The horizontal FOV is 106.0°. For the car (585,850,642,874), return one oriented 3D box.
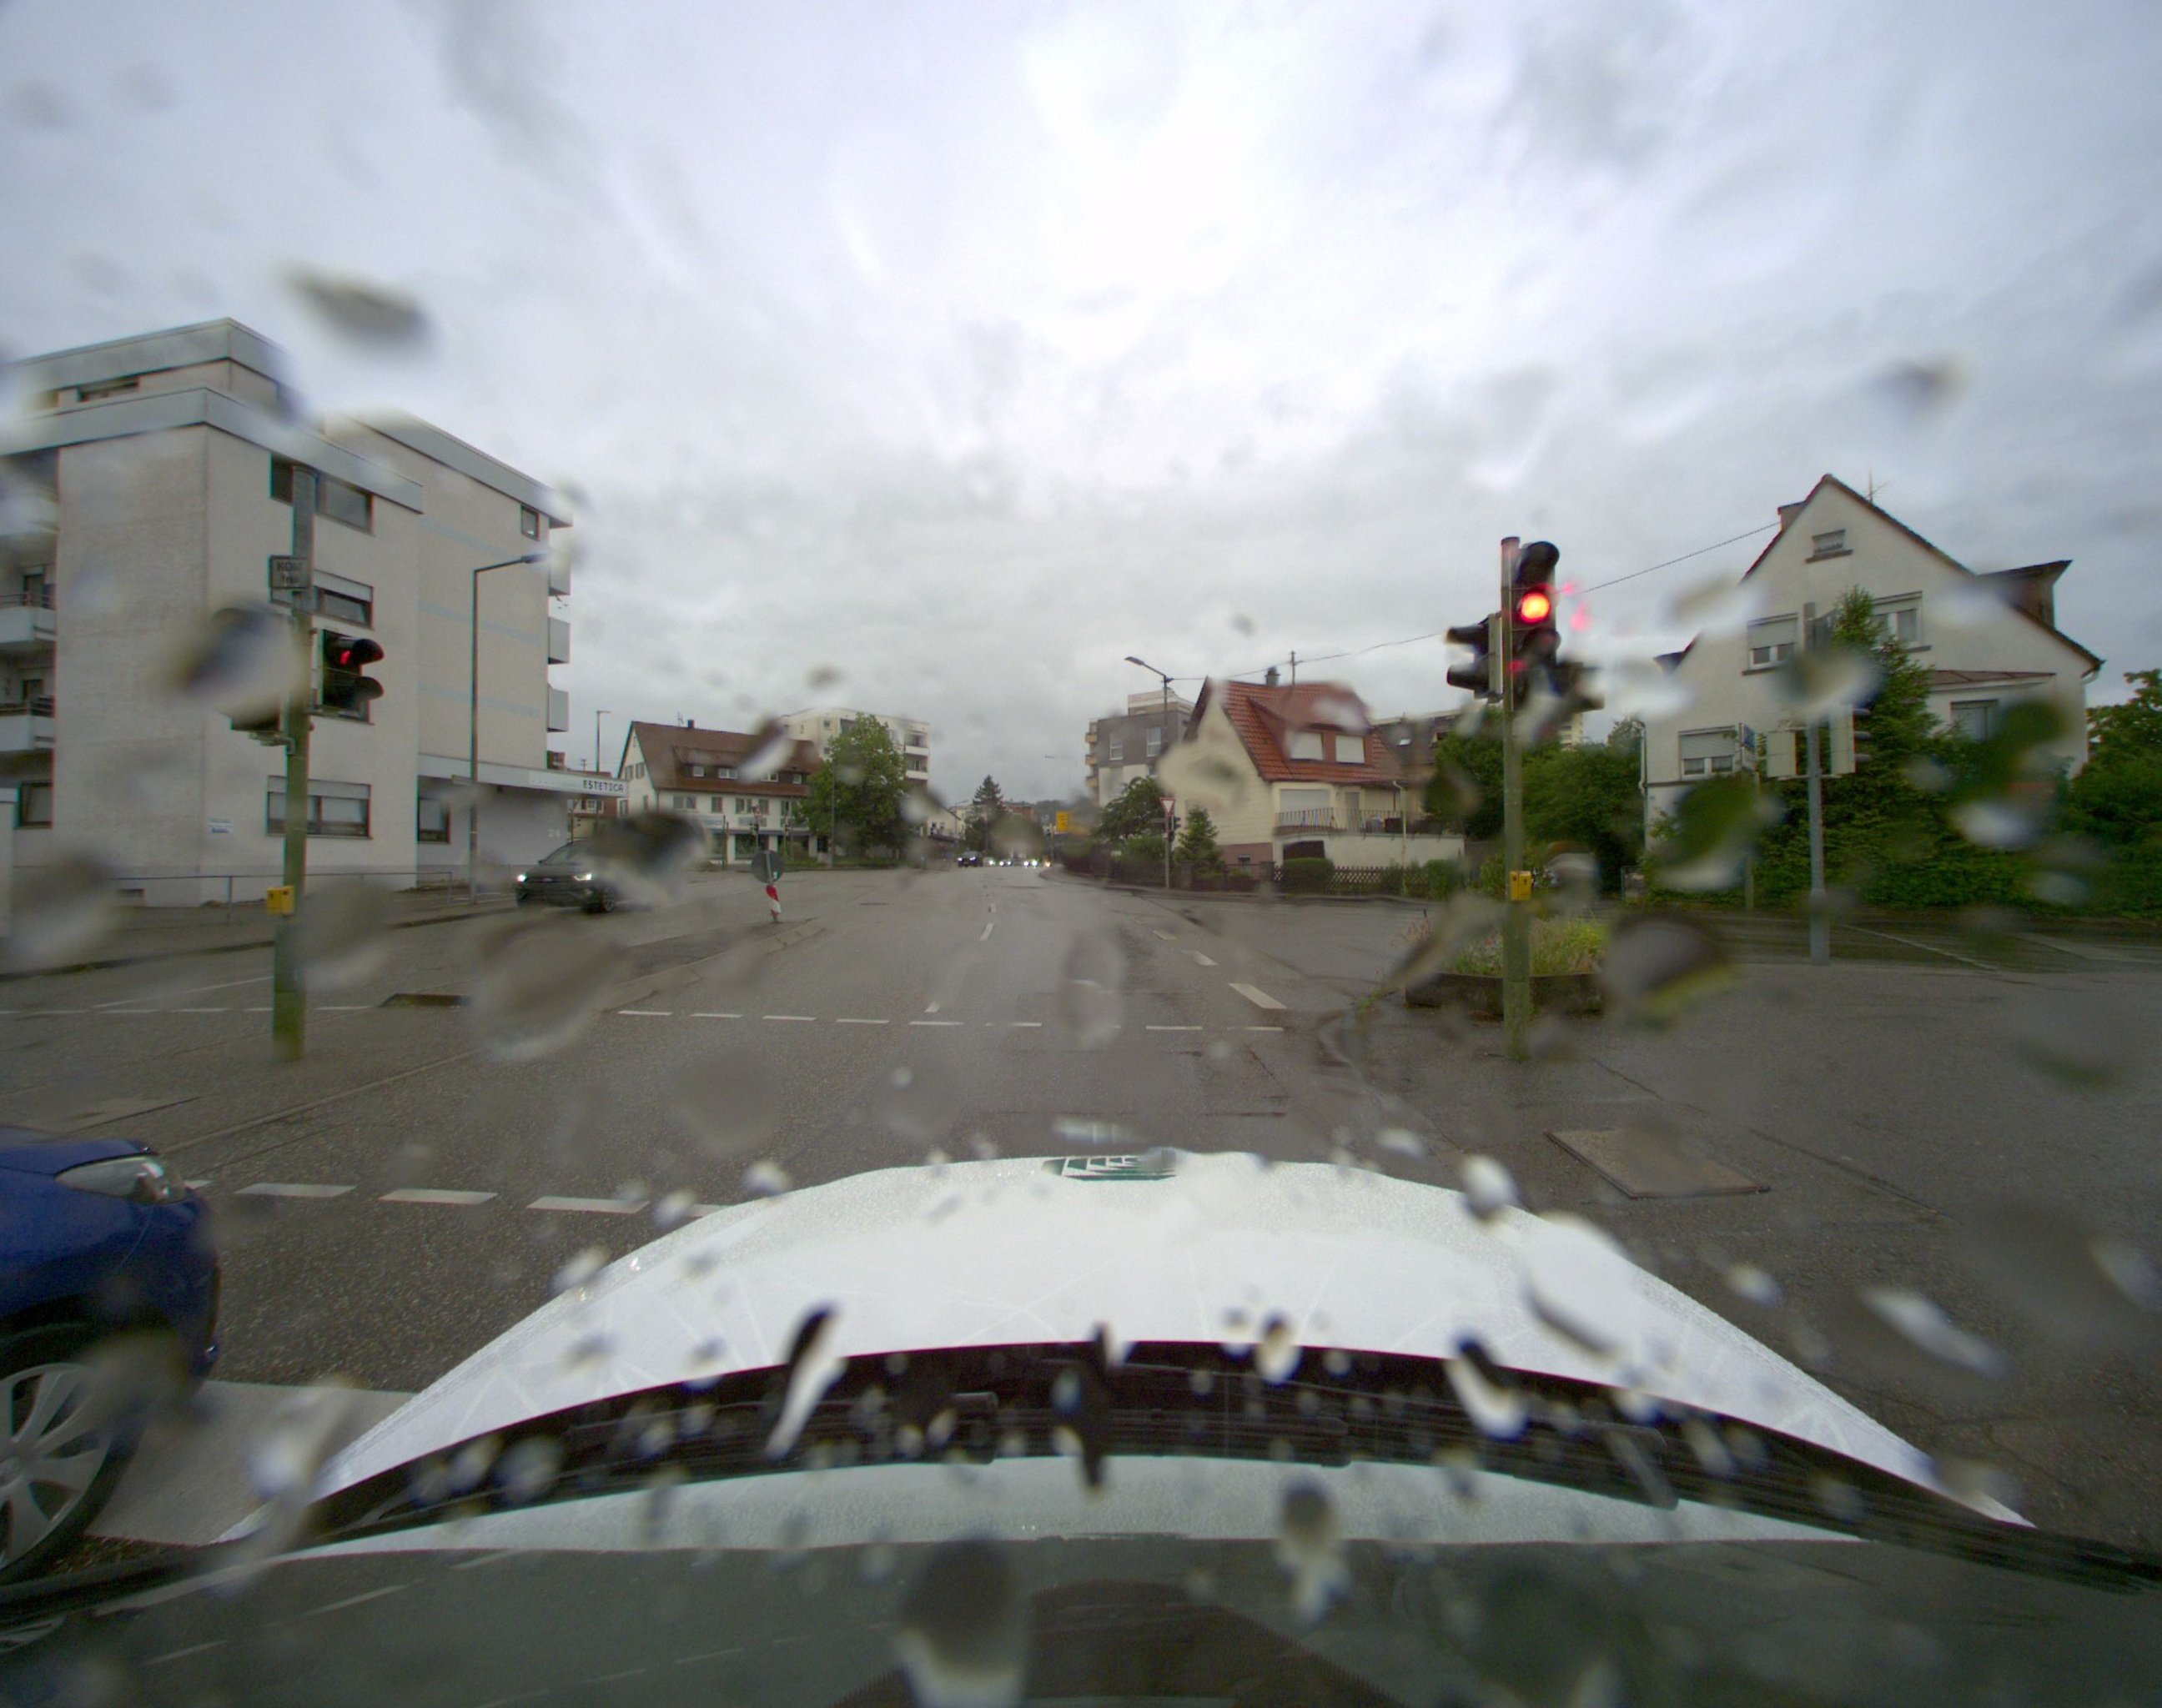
[{"bbox_3d":[-38.446,0.640,66.987,3.706,1.920,1.864,0,-1,-44],"label":"car"}]

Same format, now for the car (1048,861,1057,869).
[{"bbox_3d":[-6.455,2.442,182.063,1.989,1.812,3.996,0,-1,-3],"label":"car"}]

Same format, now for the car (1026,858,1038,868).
[{"bbox_3d":[-8.476,1.513,141.726,1.989,1.679,3.996,0,-1,-3],"label":"car"}]

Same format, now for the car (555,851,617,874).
[{"bbox_3d":[-41.220,0.680,67.810,4.093,1.843,1.864,0,-1,-44],"label":"car"}]

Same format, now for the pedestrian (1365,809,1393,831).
[{"bbox_3d":[12.767,-1.437,34.867,0.918,0.883,0.632,0,-3,-18],"label":"pedestrian"}]

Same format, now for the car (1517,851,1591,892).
[{"bbox_3d":[17.109,0.593,29.382,1.794,1.362,4.025,-1,-1,37],"label":"car"}]

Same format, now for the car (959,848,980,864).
[{"bbox_3d":[-12.378,0.269,90.593,1.990,1.737,5.173,0,0,-4],"label":"car"}]

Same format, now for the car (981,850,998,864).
[{"bbox_3d":[-12.578,0.460,111.830,1.989,1.904,3.996,0,-1,-3],"label":"car"}]

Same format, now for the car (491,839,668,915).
[{"bbox_3d":[-11.739,0.508,19.451,1.876,1.597,4.177,0,-1,-5],"label":"car"}]

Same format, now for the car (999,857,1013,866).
[{"bbox_3d":[-12.311,1.176,133.810,1.989,1.463,3.996,0,-1,-3],"label":"car"}]

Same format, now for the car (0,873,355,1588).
[{"bbox_3d":[-2.953,0.777,0.736,1.499,1.413,3.365,0,0,2],"label":"car"}]
